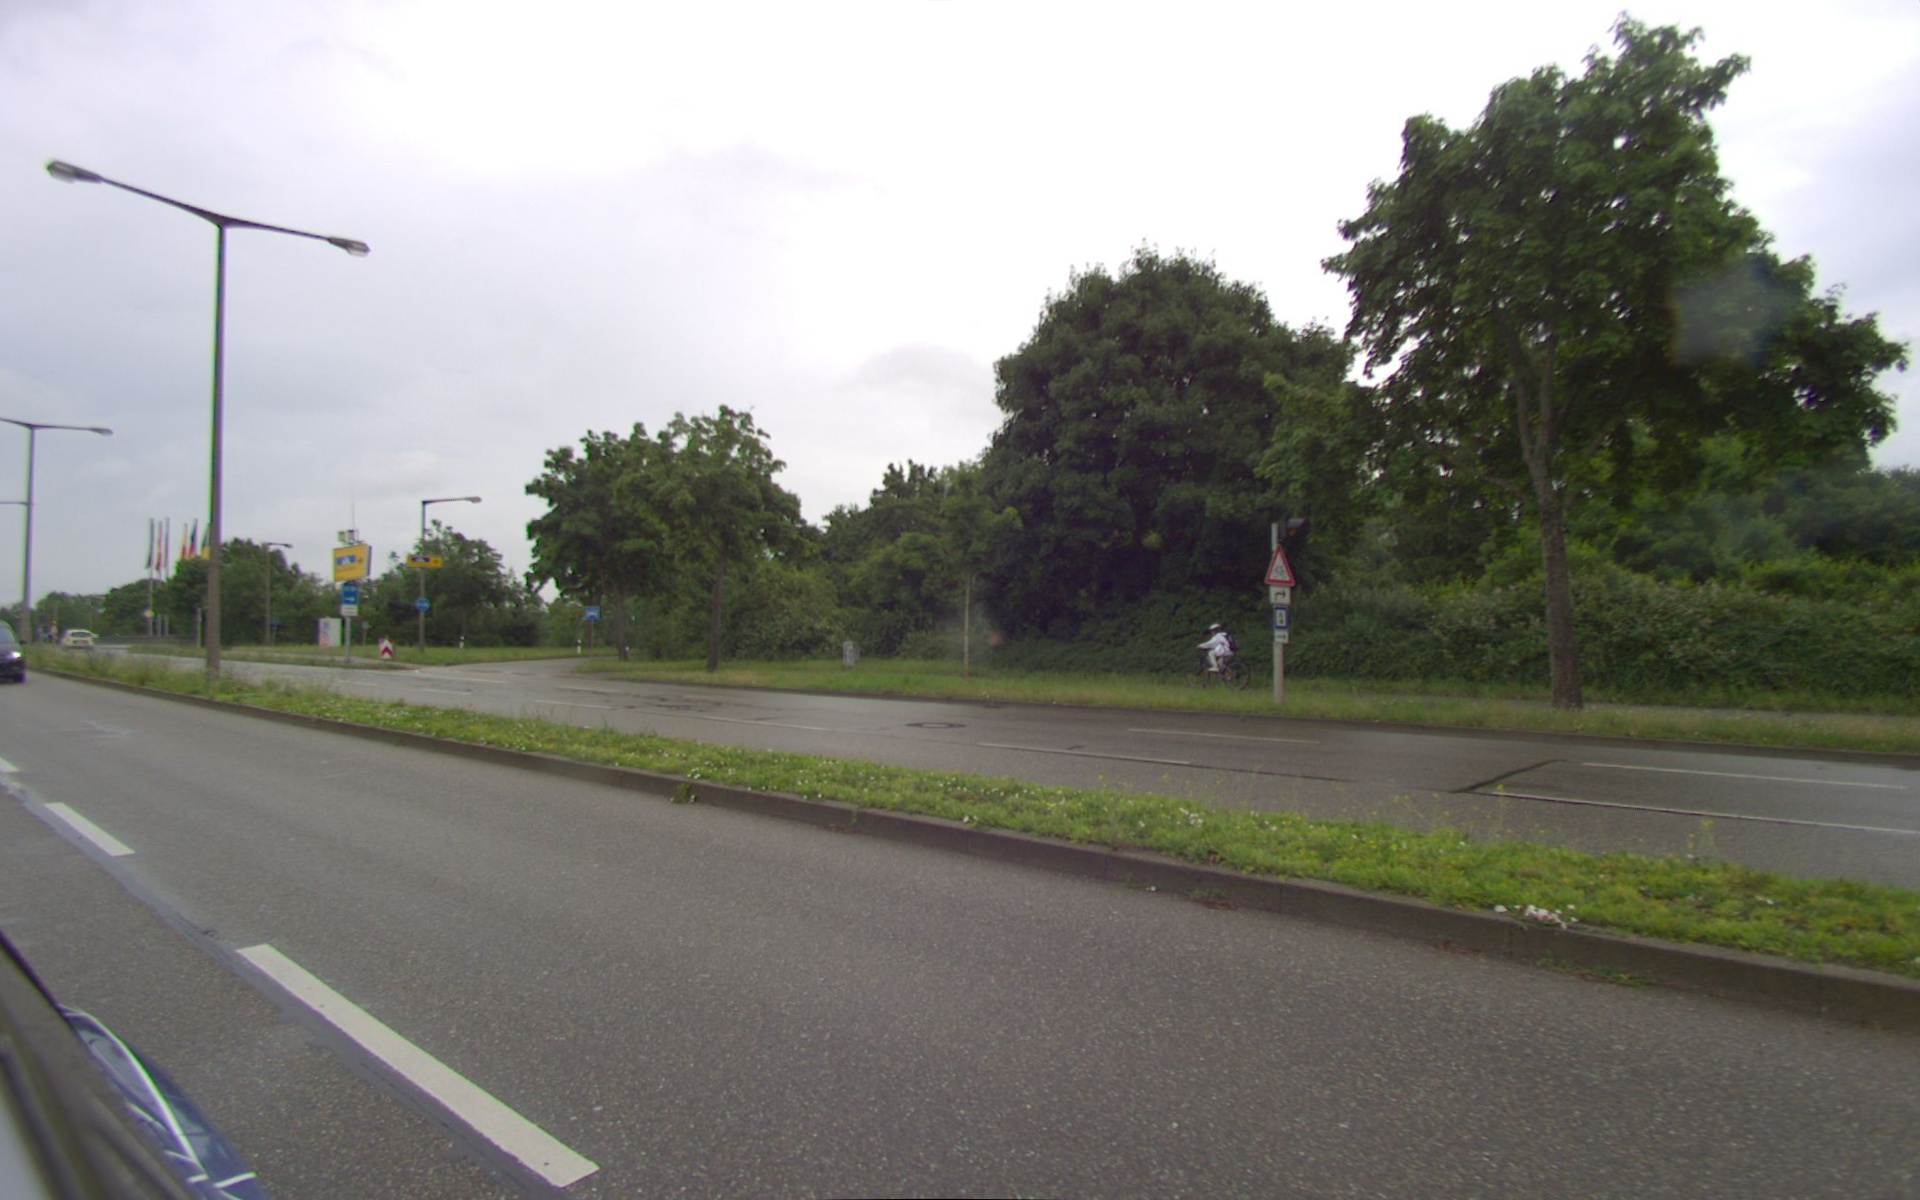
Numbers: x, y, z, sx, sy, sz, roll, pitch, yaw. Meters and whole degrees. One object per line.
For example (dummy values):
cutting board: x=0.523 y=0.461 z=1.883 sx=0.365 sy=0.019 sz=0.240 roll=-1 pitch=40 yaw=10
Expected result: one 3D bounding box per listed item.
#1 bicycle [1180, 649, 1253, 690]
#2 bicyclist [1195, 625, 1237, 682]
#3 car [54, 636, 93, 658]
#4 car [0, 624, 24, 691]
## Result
bicycle: x=6.117 y=1.638 z=24.167 sx=1.633 sy=0.892 sz=0.516 roll=-1 pitch=0 yaw=42
bicyclist: x=6.116 y=1.263 z=24.167 sx=0.808 sy=1.312 sz=0.516 roll=-1 pitch=-1 yaw=42
car: x=-68.886 y=3.655 z=78.639 sx=4.490 sy=1.642 sz=1.689 roll=-2 pitch=-5 yaw=42
car: x=-27.559 y=1.561 z=27.943 sx=4.811 sy=1.764 sz=1.828 roll=-1 pitch=-1 yaw=39
